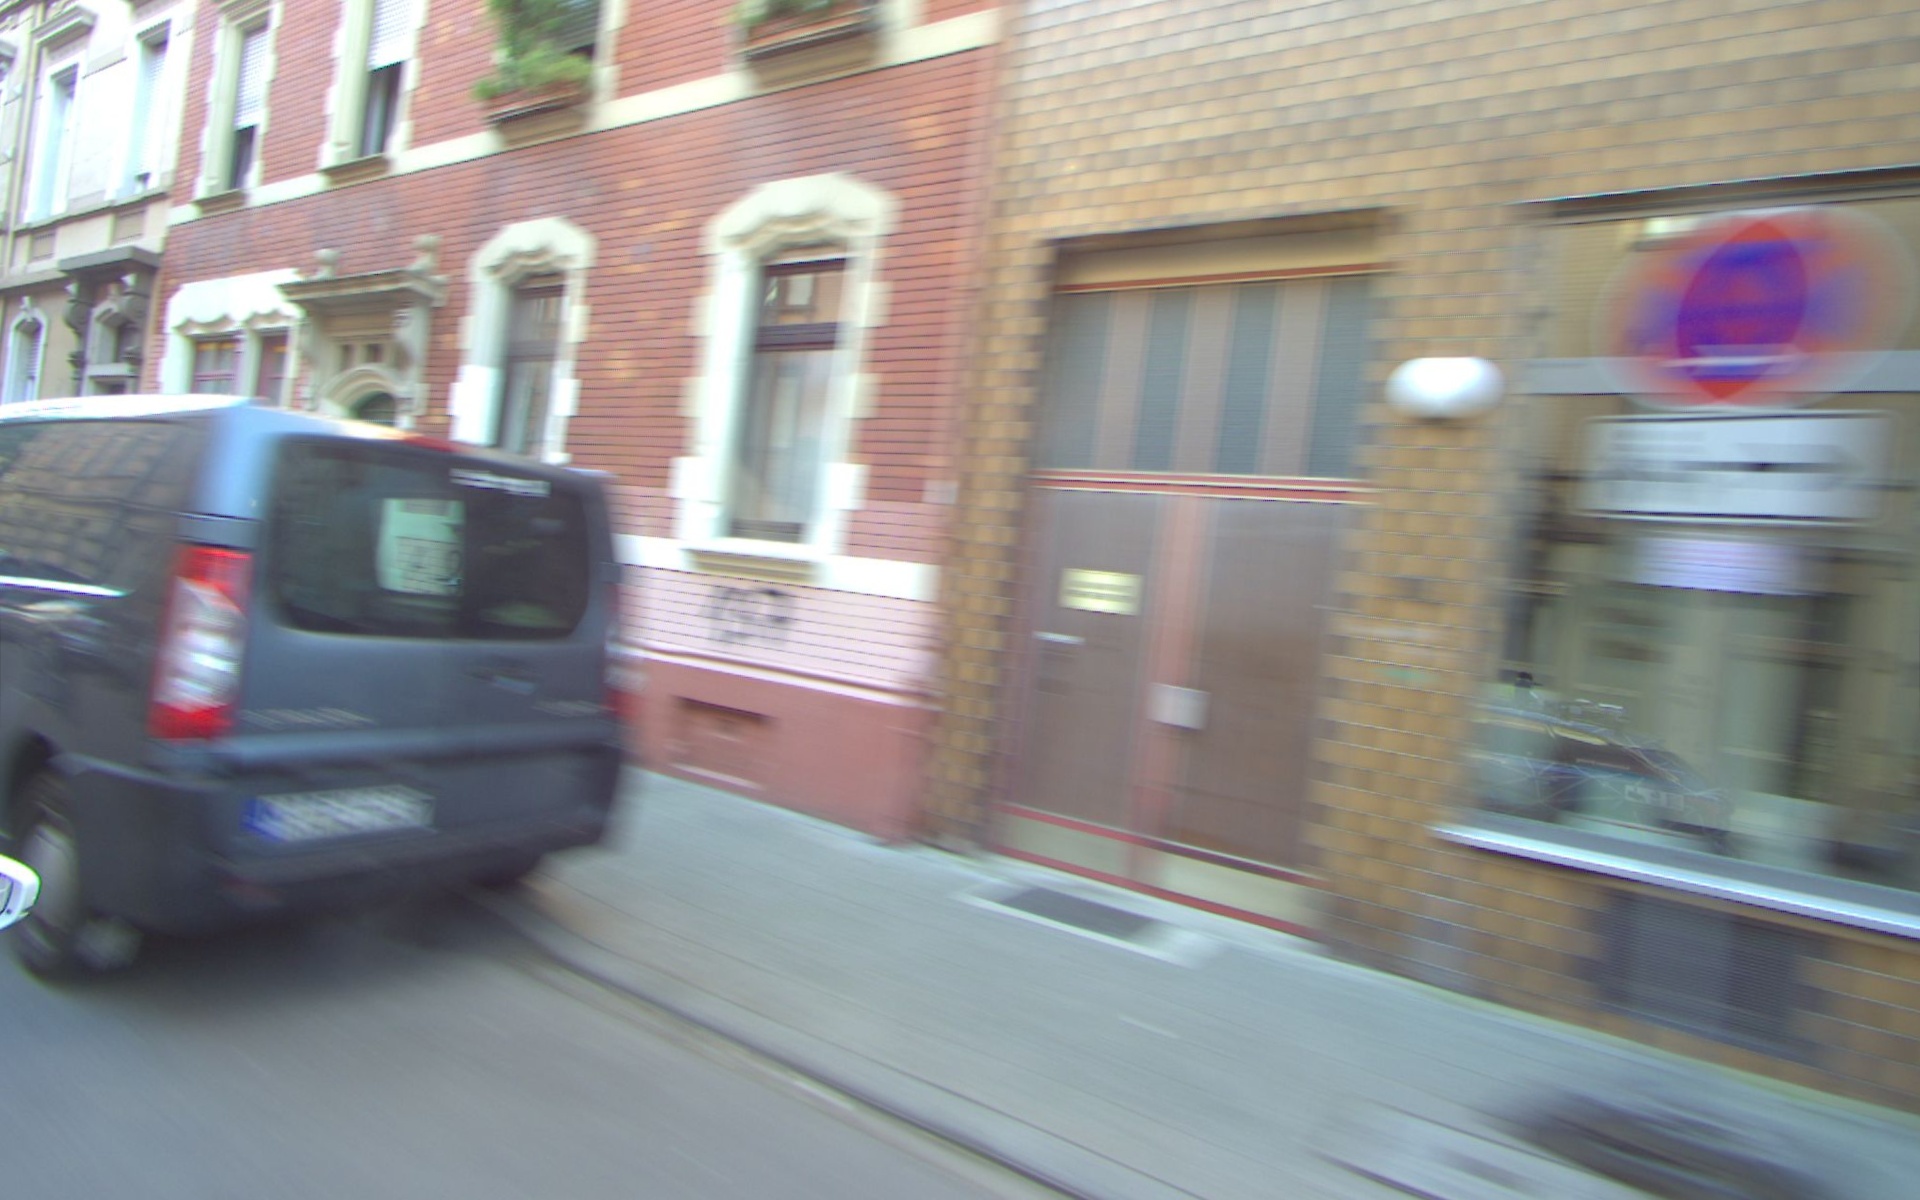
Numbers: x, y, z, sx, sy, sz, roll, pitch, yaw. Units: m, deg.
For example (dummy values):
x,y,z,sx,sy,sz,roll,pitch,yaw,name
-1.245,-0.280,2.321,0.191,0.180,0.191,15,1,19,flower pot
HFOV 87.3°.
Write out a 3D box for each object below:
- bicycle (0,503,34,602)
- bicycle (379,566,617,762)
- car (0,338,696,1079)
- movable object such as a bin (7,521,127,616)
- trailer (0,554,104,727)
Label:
x,y,z,sx,sy,sz,roll,pitch,yaw,name
-13.884,-0.719,14.223,1.664,1.321,0.727,7,3,32,bicycle
-3.627,0.443,7.822,1.959,1.239,0.668,6,2,33,bicycle
-3.637,0.171,4.680,4.500,2.005,1.850,7,-3,32,car
-11.065,-0.379,12.478,0.710,1.075,0.896,7,2,29,movable object such as a bin
-8.047,0.115,7.503,2.988,1.124,1.510,7,-4,30,trailer
